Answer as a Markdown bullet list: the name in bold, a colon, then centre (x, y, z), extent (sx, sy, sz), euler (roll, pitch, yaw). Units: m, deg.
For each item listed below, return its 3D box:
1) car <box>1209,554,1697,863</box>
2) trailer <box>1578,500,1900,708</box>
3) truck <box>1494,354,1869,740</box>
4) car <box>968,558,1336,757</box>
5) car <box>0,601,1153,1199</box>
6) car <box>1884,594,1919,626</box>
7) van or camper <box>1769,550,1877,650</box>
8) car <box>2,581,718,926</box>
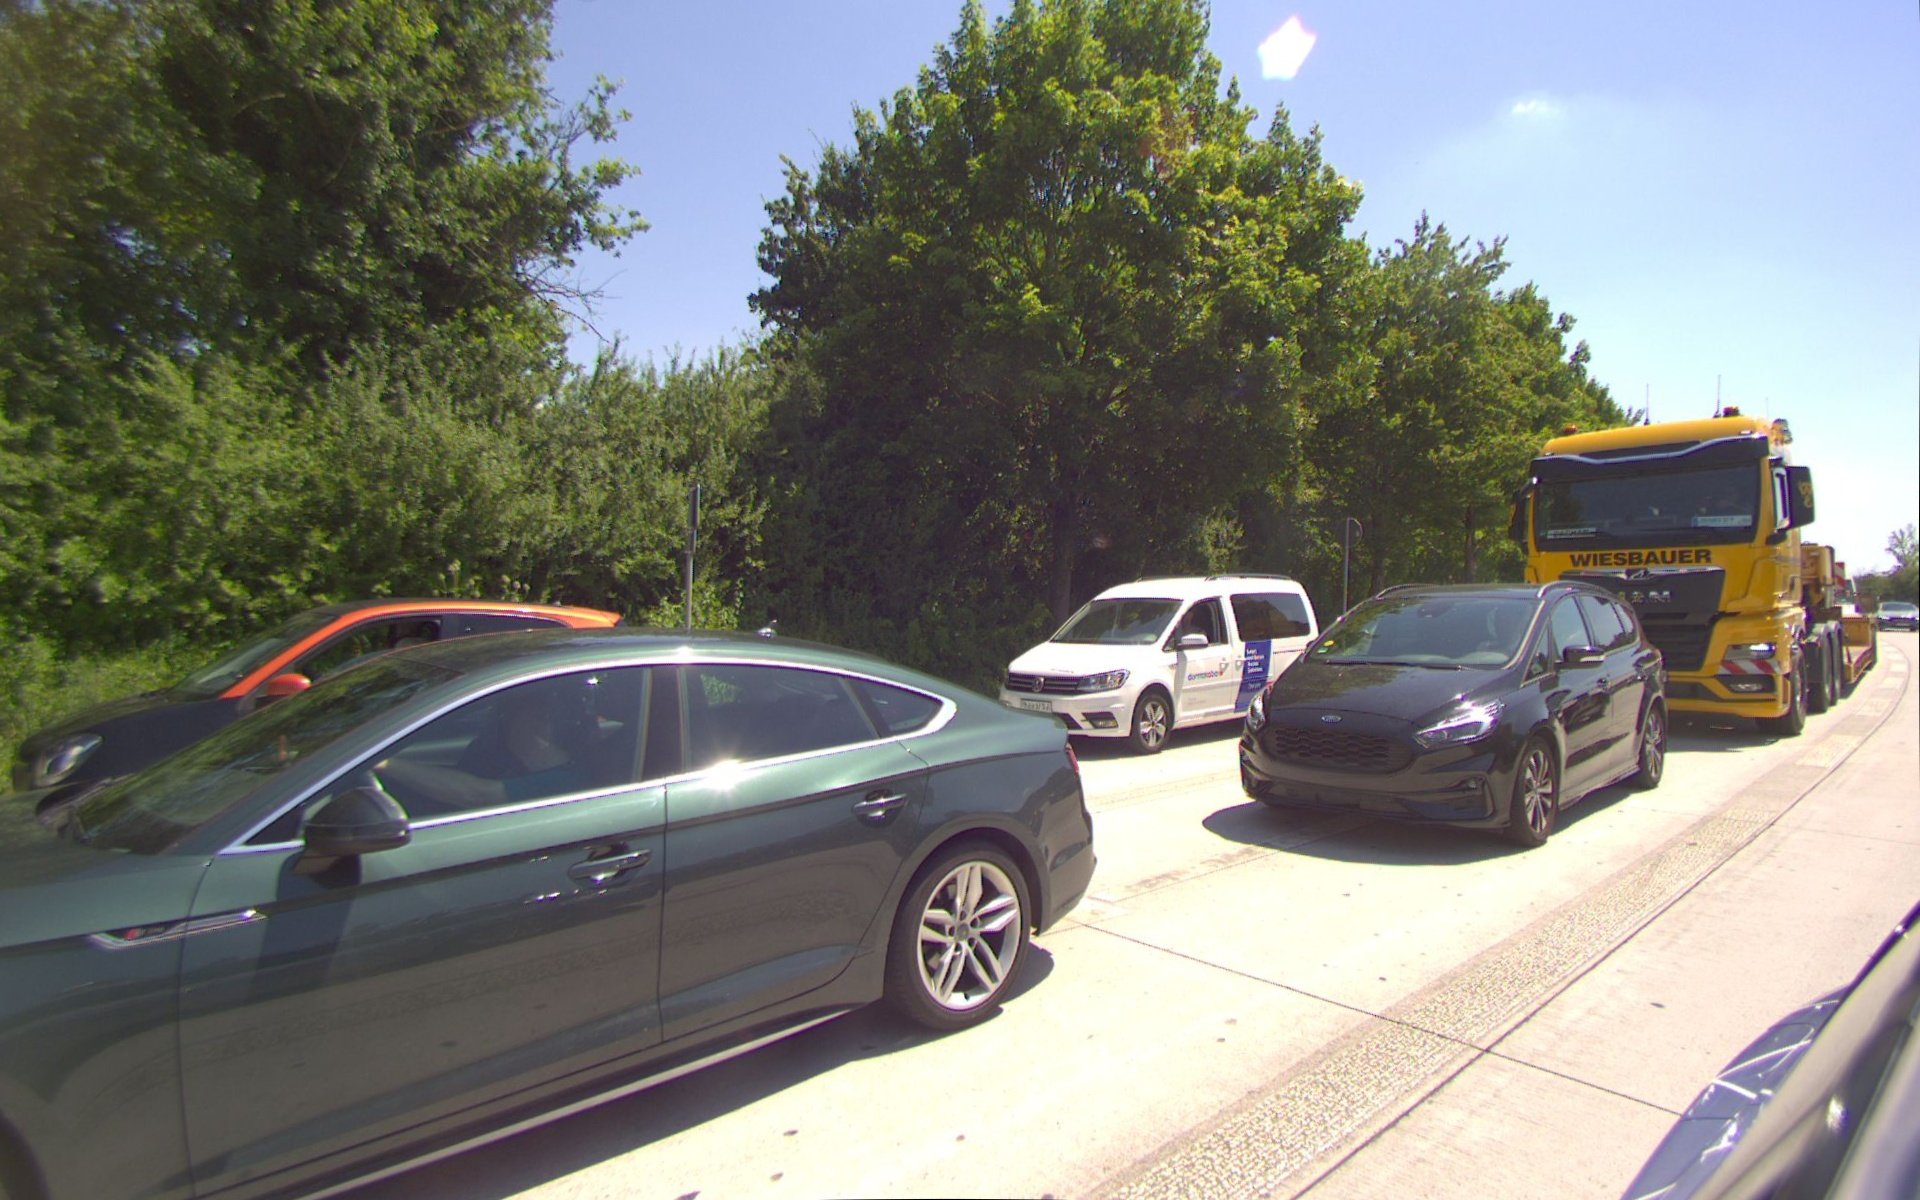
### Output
- **car**: centre (3.945, 0.551, 7.665), extent (4.569, 1.660, 1.786), euler (-1, 1, -43)
- **trailer**: centre (15.805, 0.019, 19.575), extent (3.028, 2.626, 16.093), euler (0, 0, 44)
- **truck**: centre (10.064, -0.566, 13.721), extent (3.014, 3.820, 7.350), euler (0, 0, 45)
- **car**: centre (2.392, 0.498, 11.636), extent (4.713, 1.830, 1.769), euler (-1, 0, -44)
- **car**: centre (-1.467, 0.753, 3.300), extent (4.531, 1.428, 1.770), euler (-1, 1, -42)
- **car**: centre (47.051, 0.455, 49.874), extent (3.933, 1.483, 1.888), euler (-1, 1, -43)
- **van or camper**: centre (25.104, -0.042, 29.363), extent (2.063, 2.606, 5.815), euler (0, 0, 44)
- **car**: centre (-3.569, 0.656, 6.400), extent (1.768, 1.528, 3.592), euler (0, 1, 45)
